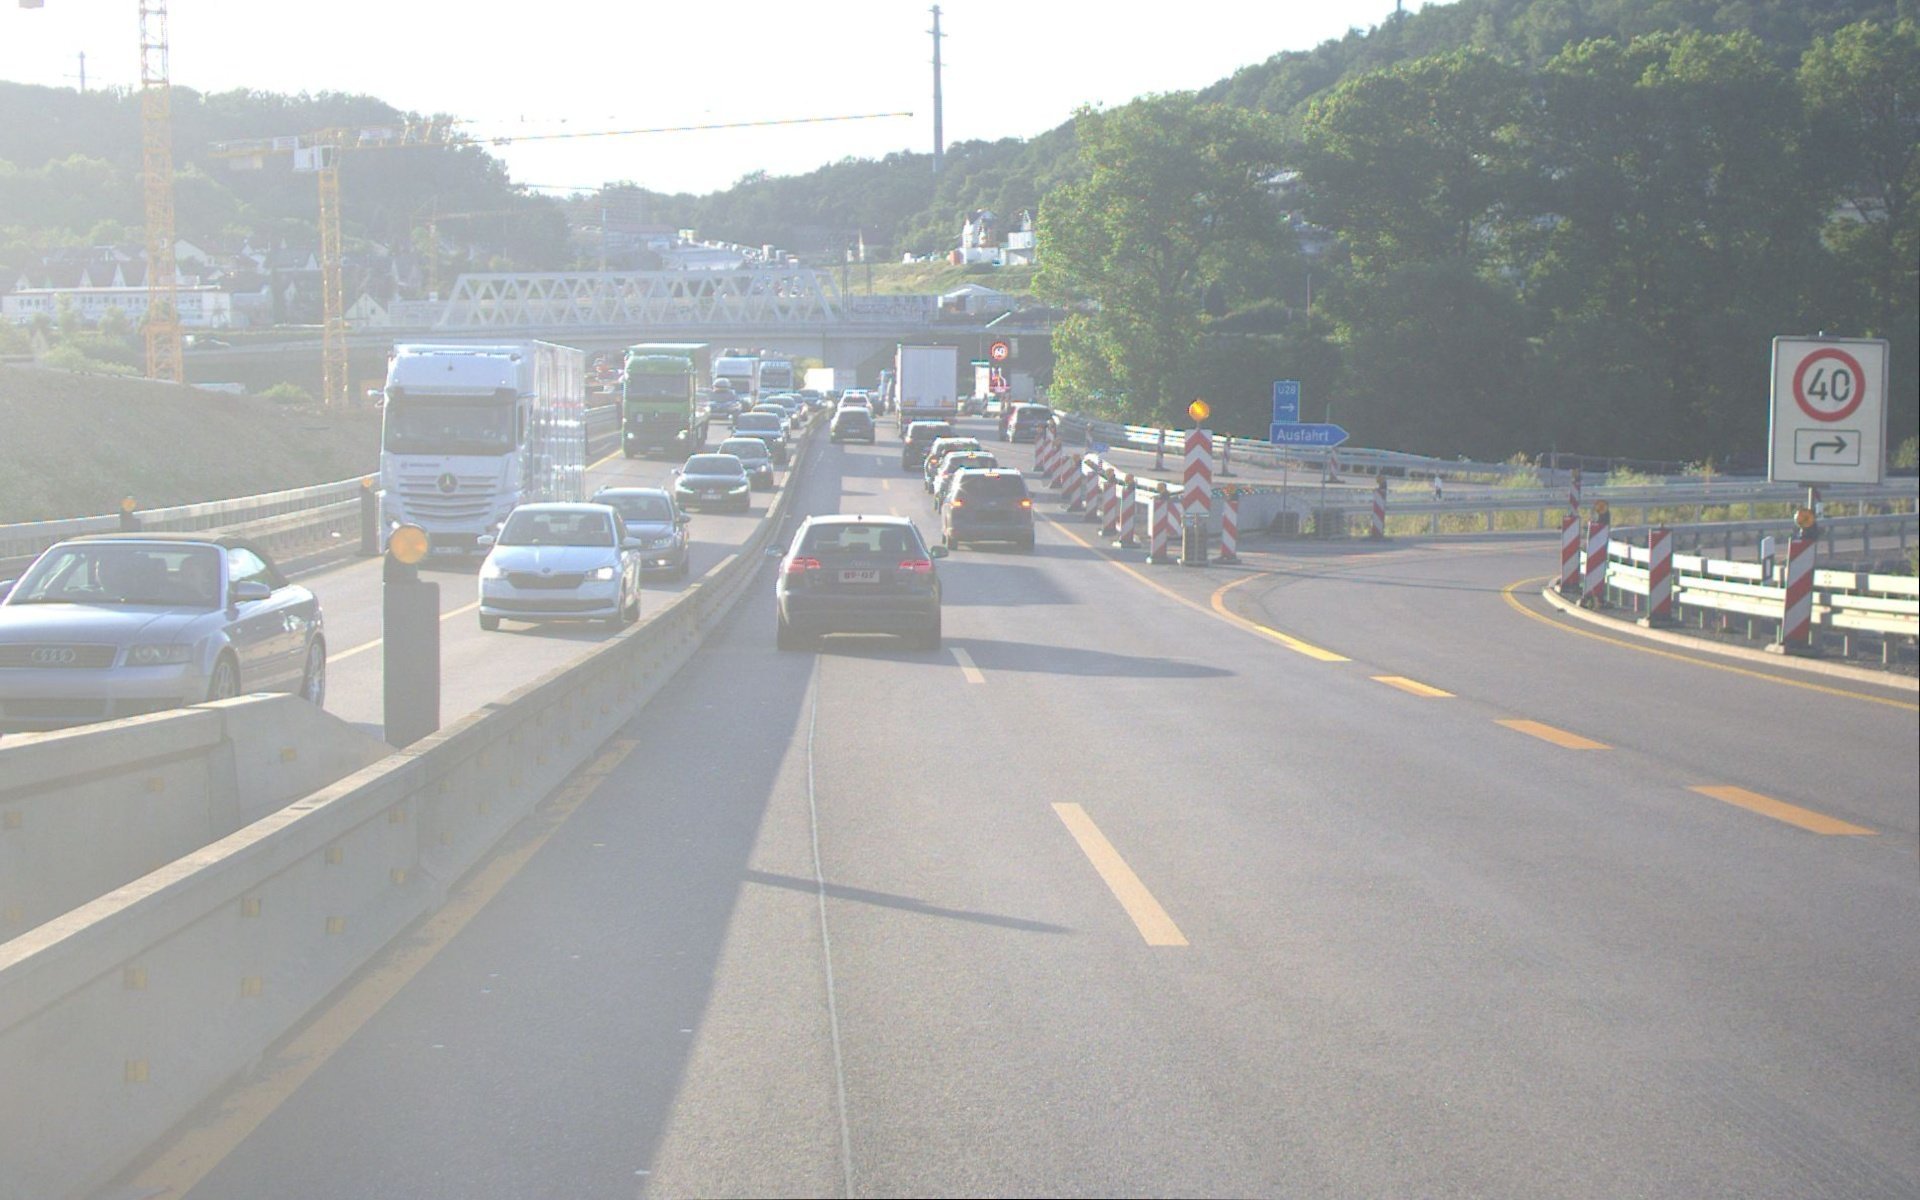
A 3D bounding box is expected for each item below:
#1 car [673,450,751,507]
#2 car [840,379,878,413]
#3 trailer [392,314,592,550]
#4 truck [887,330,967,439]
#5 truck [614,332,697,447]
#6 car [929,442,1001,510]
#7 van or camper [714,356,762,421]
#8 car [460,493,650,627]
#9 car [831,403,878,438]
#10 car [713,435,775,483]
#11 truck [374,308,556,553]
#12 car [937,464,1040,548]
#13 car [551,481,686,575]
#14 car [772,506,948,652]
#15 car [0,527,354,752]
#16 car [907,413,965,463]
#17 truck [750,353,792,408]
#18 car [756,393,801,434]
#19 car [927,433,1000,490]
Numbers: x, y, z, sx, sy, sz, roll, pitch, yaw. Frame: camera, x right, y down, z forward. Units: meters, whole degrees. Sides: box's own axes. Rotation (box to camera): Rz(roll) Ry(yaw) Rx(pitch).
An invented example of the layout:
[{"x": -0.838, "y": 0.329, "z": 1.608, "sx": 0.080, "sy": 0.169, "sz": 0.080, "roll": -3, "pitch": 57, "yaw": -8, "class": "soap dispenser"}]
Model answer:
[{"x": -6.368, "y": -3.157, "z": 88.690, "sx": 1.836, "sy": 1.404, "sz": 4.496, "roll": 0, "pitch": 3, "yaw": -2, "class": "car"}, {"x": -5.300, "y": -10.692, "z": 180.052, "sx": 1.923, "sy": 1.547, "sz": 4.000, "roll": 1, "pitch": 0, "yaw": -1, "class": "car"}, {"x": -9.214, "y": -3.268, "z": 69.195, "sx": 2.530, "sy": 4.199, "sz": 13.936, "roll": 1, "pitch": 2, "yaw": -2, "class": "trailer"}, {"x": -1.618, "y": -10.047, "z": 158.507, "sx": 3.385, "sy": 4.481, "sz": 15.273, "roll": 1, "pitch": 5, "yaw": -1, "class": "truck"}, {"x": -11.143, "y": -7.734, "z": 126.165, "sx": 2.769, "sy": 4.066, "sz": 5.778, "roll": 1, "pitch": 3, "yaw": -3, "class": "truck"}, {"x": 0.102, "y": -3.199, "z": 88.061, "sx": 1.774, "sy": 1.580, "sz": 4.136, "roll": 1, "pitch": 4, "yaw": -1, "class": "car"}, {"x": -12.374, "y": -11.867, "z": 192.224, "sx": 2.457, "sy": 3.485, "sz": 7.416, "roll": 0, "pitch": 4, "yaw": -2, "class": "van or camper"}, {"x": -4.795, "y": -0.500, "z": 41.185, "sx": 1.788, "sy": 1.483, "sz": 4.220, "roll": 1, "pitch": 1, "yaw": 0, "class": "car"}, {"x": -4.323, "y": -7.386, "z": 141.547, "sx": 1.863, "sy": 1.415, "sz": 4.001, "roll": 1, "pitch": 3, "yaw": -1, "class": "car"}, {"x": -6.489, "y": -4.257, "z": 103.516, "sx": 1.715, "sy": 1.404, "sz": 4.328, "roll": 0, "pitch": 3, "yaw": -2, "class": "car"}, {"x": -8.997, "y": -3.054, "z": 63.020, "sx": 2.552, "sy": 4.206, "sz": 6.051, "roll": 1, "pitch": 2, "yaw": -2, "class": "truck"}, {"x": 0.555, "y": -1.910, "z": 70.204, "sx": 1.812, "sy": 1.610, "sz": 4.527, "roll": 1, "pitch": 1, "yaw": -3, "class": "car"}, {"x": -5.595, "y": -1.219, "z": 56.798, "sx": 1.850, "sy": 1.478, "sz": 4.511, "roll": 0, "pitch": 2, "yaw": -1, "class": "car"}, {"x": -1.135, "y": -0.268, "z": 37.248, "sx": 1.769, "sy": 1.385, "sz": 4.001, "roll": 1, "pitch": 3, "yaw": -3, "class": "car"}, {"x": -5.529, "y": 0.195, "z": 23.544, "sx": 1.789, "sy": 1.353, "sz": 4.635, "roll": 1, "pitch": 1, "yaw": 2, "class": "car"}, {"x": -0.842, "y": -5.525, "z": 116.729, "sx": 1.814, "sy": 1.626, "sz": 4.412, "roll": 1, "pitch": 3, "yaw": -2, "class": "car"}, {"x": -14.152, "y": -16.473, "z": 257.813, "sx": 2.814, "sy": 4.034, "sz": 5.674, "roll": 0, "pitch": 4, "yaw": -1, "class": "truck"}, {"x": -8.545, "y": -8.760, "z": 162.016, "sx": 1.993, "sy": 1.787, "sz": 4.001, "roll": 1, "pitch": 2, "yaw": -1, "class": "car"}, {"x": 0.083, "y": -4.082, "z": 100.904, "sx": 1.875, "sy": 1.593, "sz": 4.967, "roll": 0, "pitch": 3, "yaw": -3, "class": "car"}]
